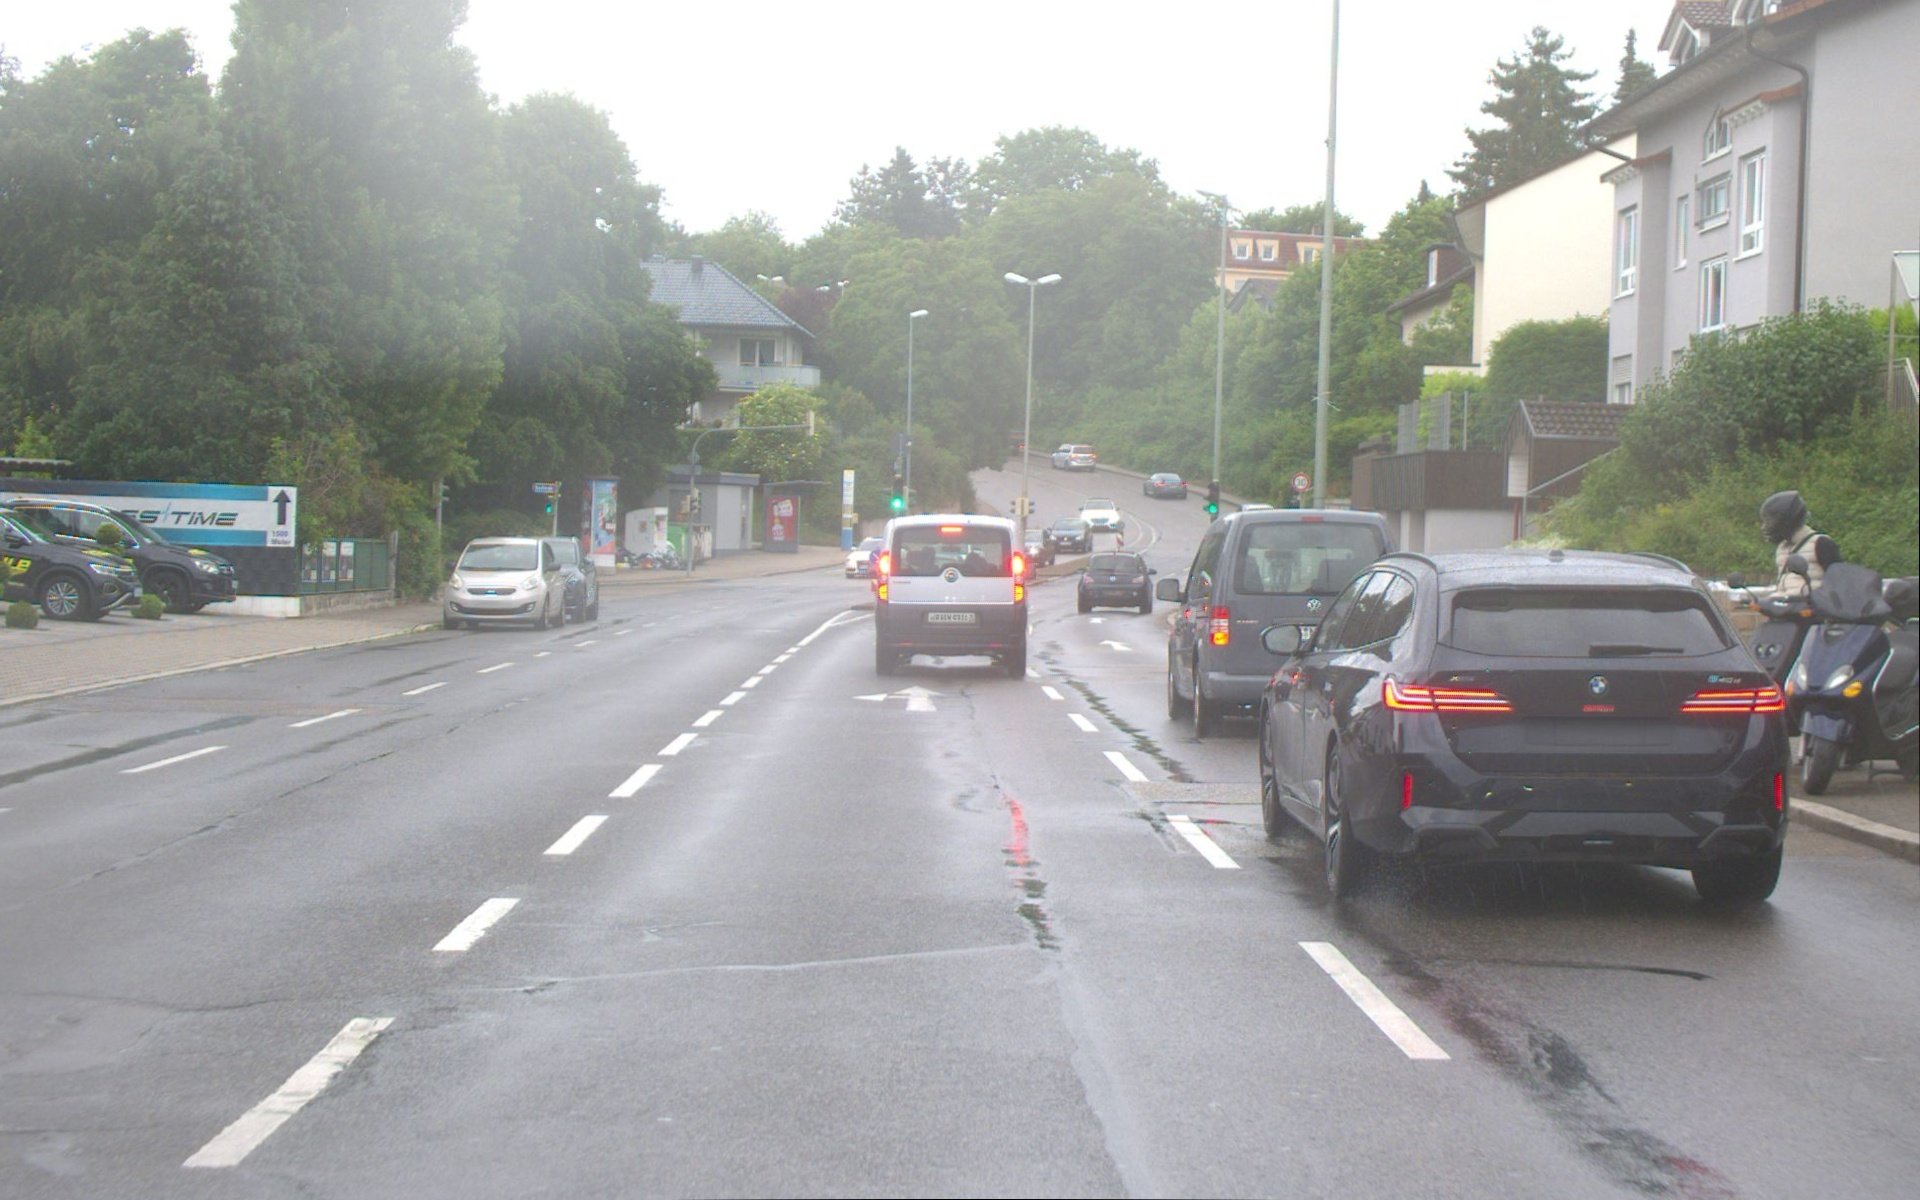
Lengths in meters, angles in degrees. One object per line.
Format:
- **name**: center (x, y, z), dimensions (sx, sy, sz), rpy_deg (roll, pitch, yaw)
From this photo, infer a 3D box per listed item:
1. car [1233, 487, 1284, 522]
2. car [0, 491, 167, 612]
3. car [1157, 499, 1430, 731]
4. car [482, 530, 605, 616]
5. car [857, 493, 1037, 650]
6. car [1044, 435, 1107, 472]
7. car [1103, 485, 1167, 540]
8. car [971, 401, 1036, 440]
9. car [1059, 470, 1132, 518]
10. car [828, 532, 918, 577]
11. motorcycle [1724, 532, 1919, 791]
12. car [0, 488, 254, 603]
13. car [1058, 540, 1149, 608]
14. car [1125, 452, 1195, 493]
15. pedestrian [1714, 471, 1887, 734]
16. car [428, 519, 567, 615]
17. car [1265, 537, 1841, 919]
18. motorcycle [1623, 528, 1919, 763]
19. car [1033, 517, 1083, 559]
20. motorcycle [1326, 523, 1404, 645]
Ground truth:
- **car**: center (13.846, -4.426, 159.688), dimensions (1.993, 1.579, 4.000), rpy_deg (1, 1, 0)
- **car**: center (-13.601, -0.781, 48.966), dimensions (4.072, 1.511, 1.856), rpy_deg (5, 1, -1)
- **car**: center (2.705, 0.087, 28.711), dimensions (1.838, 1.761, 4.000), rpy_deg (1, 1, 0)
- **car**: center (-8.071, -0.536, 66.888), dimensions (1.884, 1.579, 4.000), rpy_deg (1, 1, 0)
- **car**: center (-0.153, -0.353, 40.874), dimensions (1.993, 1.731, 4.000), rpy_deg (1, 1, 0)
- **car**: center (7.163, -9.109, 213.771), dimensions (2.521, 2.006, 5.611), rpy_deg (1, 5, -13)
- **car**: center (7.365, -3.715, 145.194), dimensions (2.522, 2.006, 5.609), rpy_deg (2, 4, 2)
- **car**: center (2.846, -11.882, 227.232), dimensions (2.521, 2.006, 5.612), rpy_deg (1, 7, -18)
- **car**: center (6.580, -5.190, 167.832), dimensions (2.521, 2.006, 5.611), rpy_deg (1, 4, -8)
- **car**: center (-3.124, -1.629, 124.197), dimensions (1.995, 1.542, 4.393), rpy_deg (2, 1, 16)
- **motorcycle**: center (5.483, 0.328, 20.433), dimensions (2.084, 1.445, 0.822), rpy_deg (-1, 2, -44)
- **car**: center (-13.760, -0.891, 55.900), dimensions (4.072, 1.511, 1.856), rpy_deg (5, 1, -1)
- **car**: center (3.427, -0.650, 82.762), dimensions (1.993, 1.573, 4.000), rpy_deg (0, 1, 0)
- **car**: center (11.188, -7.169, 192.994), dimensions (2.521, 2.006, 5.611), rpy_deg (1, 4, -11)
- **pedestrian**: center (5.363, 0.016, 21.954), dimensions (0.829, 1.644, 0.622), rpy_deg (1, 1, -24)
- **car**: center (-8.062, -0.593, 60.210), dimensions (1.884, 1.579, 4.000), rpy_deg (1, 1, 0)
- **car**: center (2.538, 0.478, 15.709), dimensions (1.993, 1.478, 4.000), rpy_deg (1, 1, 1)
- **motorcycle**: center (5.336, 0.288, 21.931), dimensions (2.082, 1.445, 0.759), rpy_deg (1, 1, -25)
- **car**: center (4.165, -2.650, 146.884), dimensions (1.993, 1.766, 4.000), rpy_deg (0, 1, 0)
- **motorcycle**: center (5.177, -0.216, 44.053), dimensions (0.703, 1.504, 2.150), rpy_deg (-1, 1, 0)
